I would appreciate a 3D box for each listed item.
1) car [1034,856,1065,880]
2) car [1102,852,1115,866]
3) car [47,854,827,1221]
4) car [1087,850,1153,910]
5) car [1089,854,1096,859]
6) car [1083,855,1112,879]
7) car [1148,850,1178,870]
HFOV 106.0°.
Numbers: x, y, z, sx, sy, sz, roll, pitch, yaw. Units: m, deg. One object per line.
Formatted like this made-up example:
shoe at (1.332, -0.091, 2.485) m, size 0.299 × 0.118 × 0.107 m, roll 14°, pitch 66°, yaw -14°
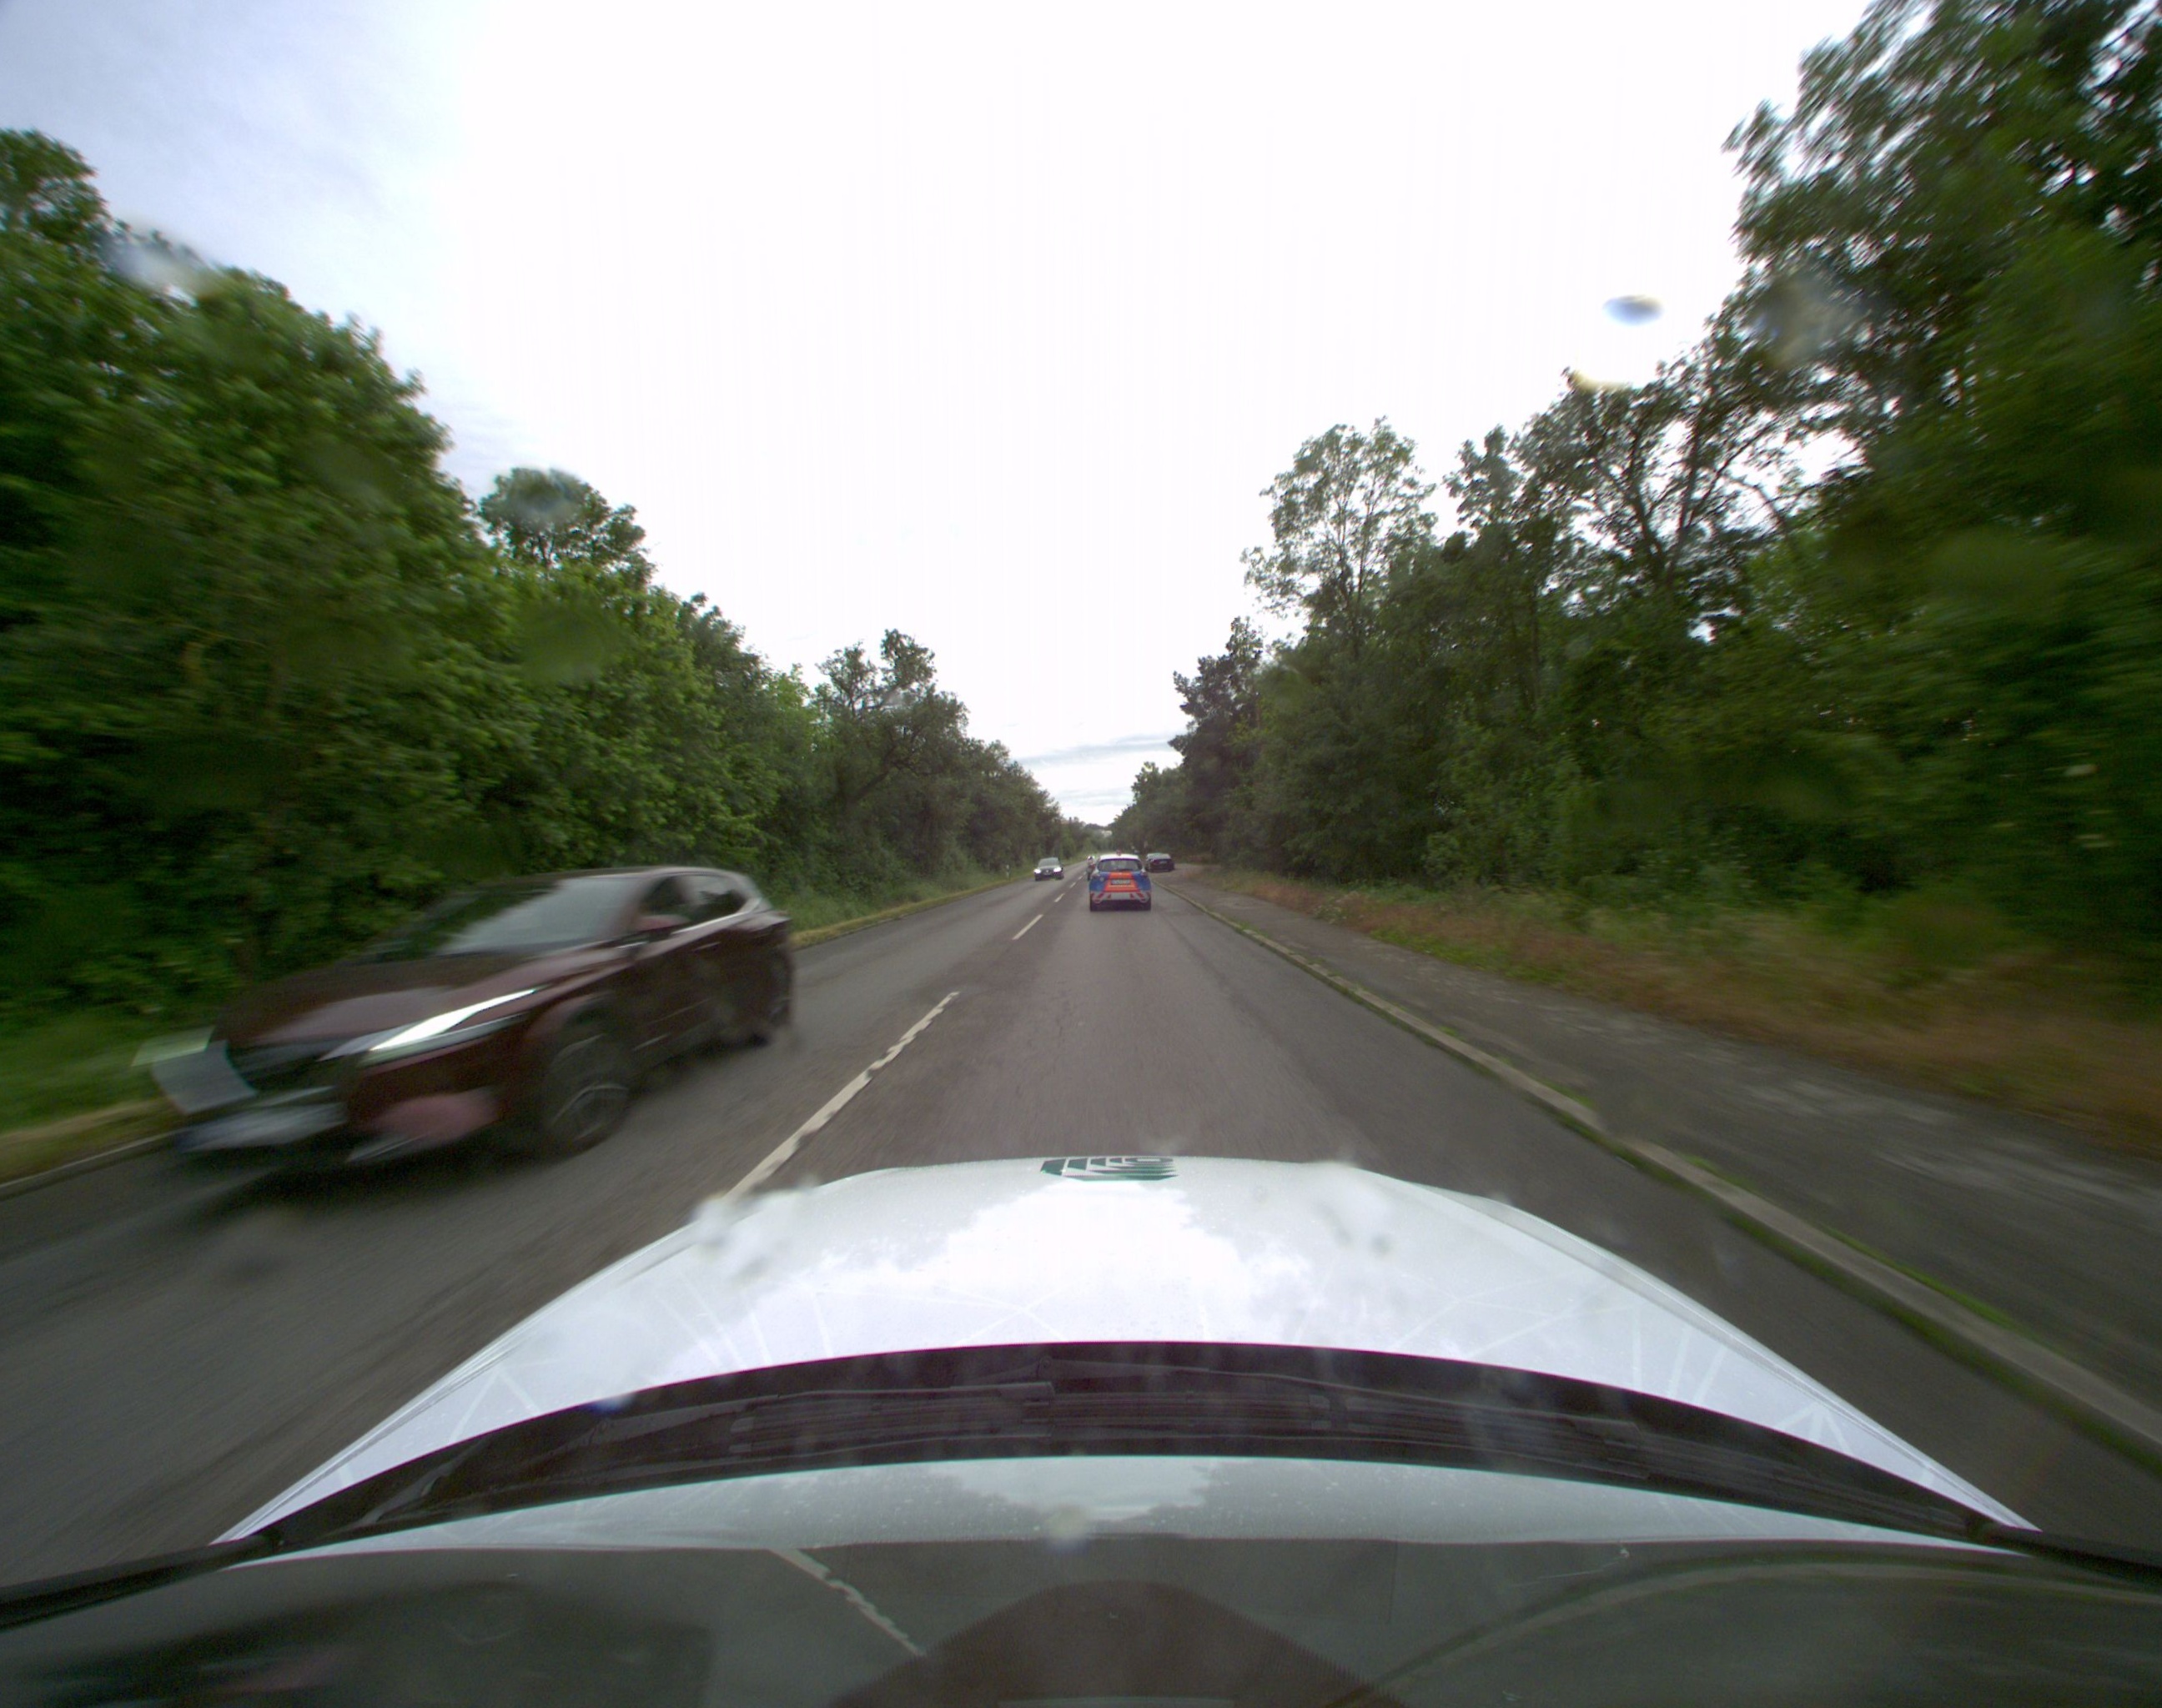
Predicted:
car at (-2.065, 0.918, 54.388) m, size 1.704 × 1.399 × 4.151 m, roll -4°, pitch 0°, yaw 1°
car at (3.784, 0.676, 112.171) m, size 1.737 × 1.882 × 4.000 m, roll -2°, pitch 0°, yaw 1°
car at (-3.594, 0.823, 5.900) m, size 1.898 × 1.556 × 4.517 m, roll -3°, pitch 0°, yaw 2°
car at (1.089, 0.686, 23.692) m, size 1.745 × 1.555 × 3.794 m, roll -1°, pitch 1°, yaw 1°
car at (3.337, 0.708, 239.475) m, size 1.878 × 1.387 × 4.000 m, roll -2°, pitch 0°, yaw 0°
car at (1.034, 0.752, 48.561) m, size 1.592 × 1.287 × 3.478 m, roll -3°, pitch 0°, yaw 2°
car at (6.290, 0.460, 62.749) m, size 1.986 × 1.376 × 4.002 m, roll -3°, pitch 0°, yaw 2°
